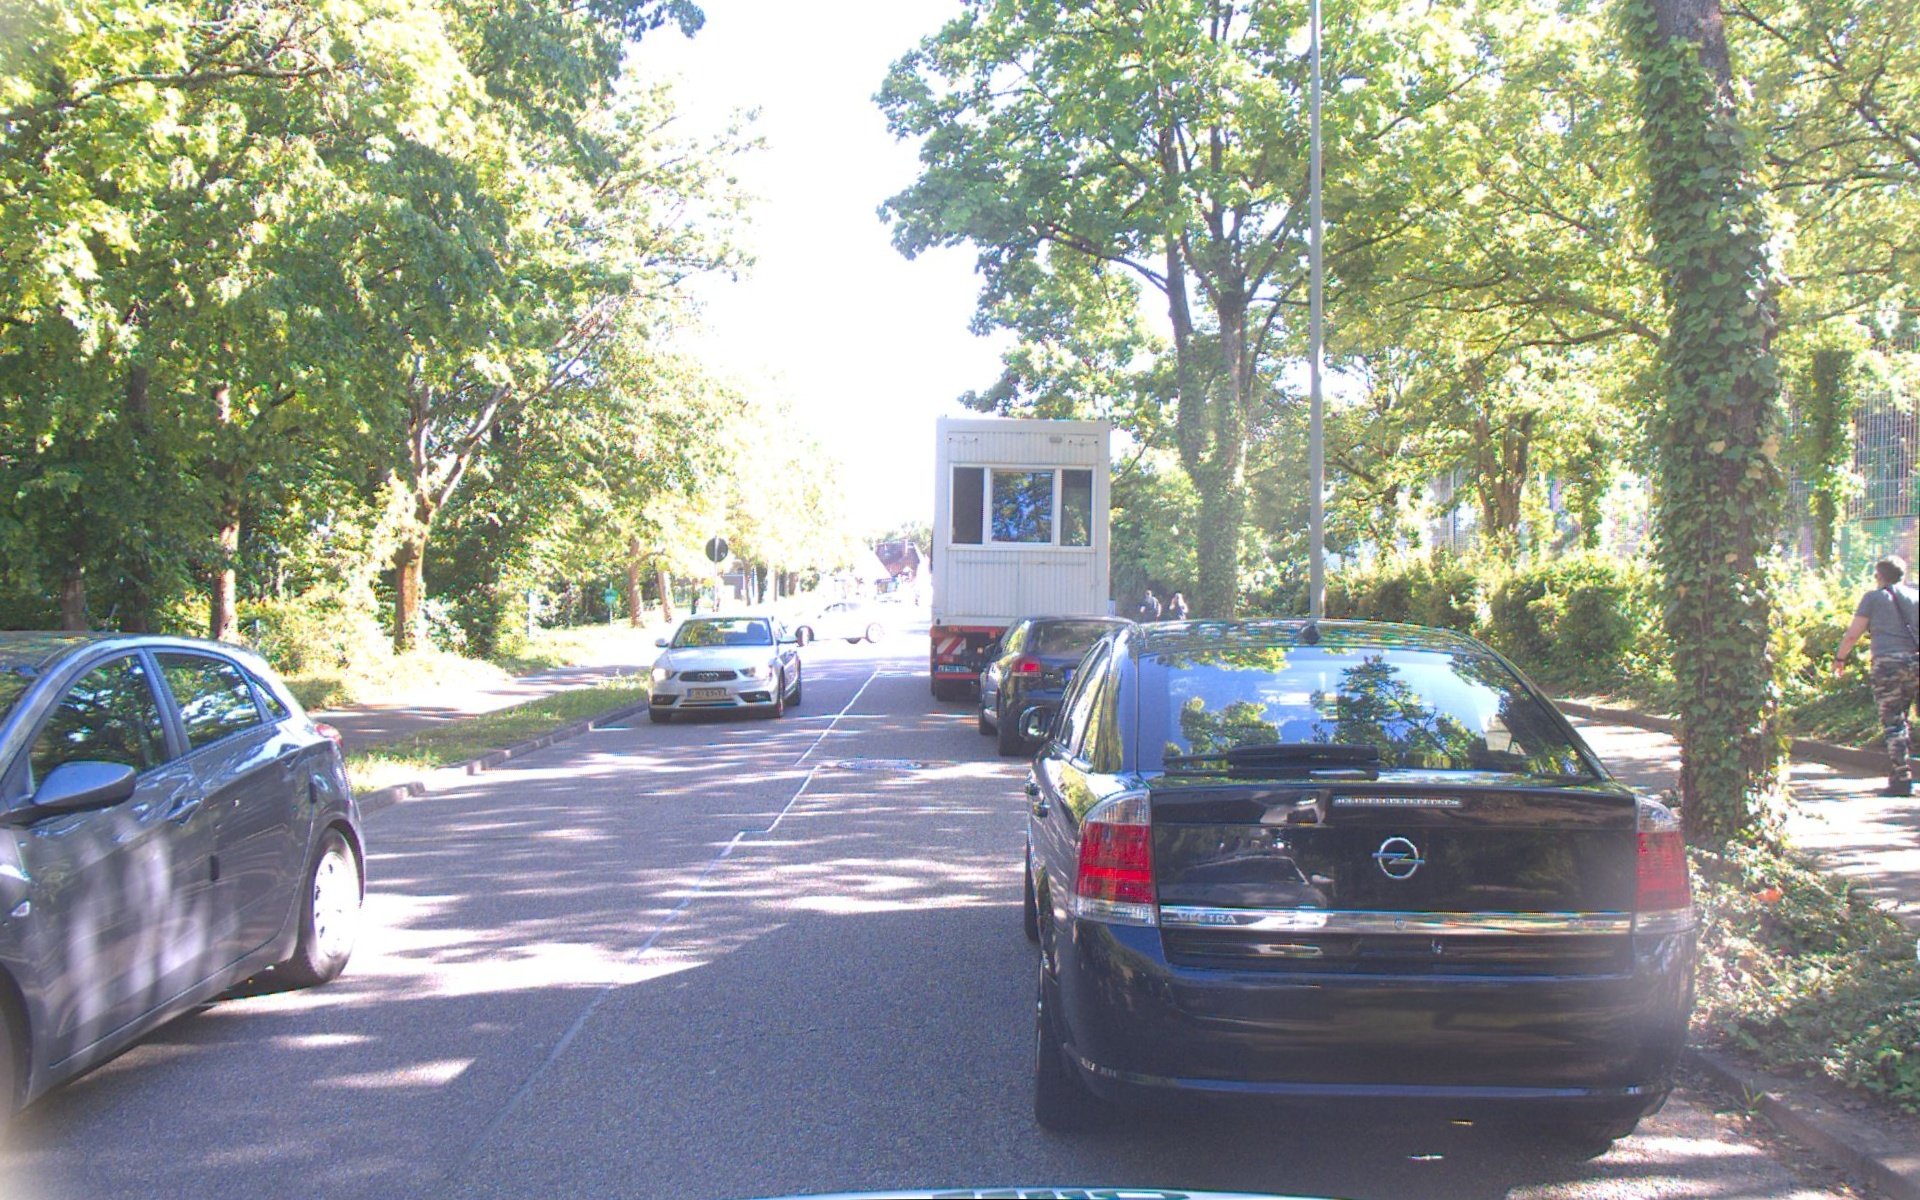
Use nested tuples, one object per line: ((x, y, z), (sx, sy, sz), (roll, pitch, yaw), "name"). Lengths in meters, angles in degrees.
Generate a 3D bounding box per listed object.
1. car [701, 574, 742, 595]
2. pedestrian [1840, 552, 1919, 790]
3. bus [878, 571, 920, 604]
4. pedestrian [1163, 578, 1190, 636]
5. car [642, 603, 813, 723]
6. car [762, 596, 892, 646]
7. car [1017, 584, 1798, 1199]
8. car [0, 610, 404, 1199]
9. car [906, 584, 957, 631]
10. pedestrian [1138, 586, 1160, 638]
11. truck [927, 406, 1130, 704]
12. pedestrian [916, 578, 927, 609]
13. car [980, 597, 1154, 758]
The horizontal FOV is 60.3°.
((-24.703, -1.612, 171.316), (3.905, 2.049, 2.000), (-2, 0, 1), "car")
((6.648, 0.483, 11.694), (0.559, 1.636, 0.672), (0, 0, 8), "pedestrian")
((-6.671, -1.403, 182.722), (3.981, 3.407, 9.802), (-2, 0, 1), "bus")
((7.051, 0.229, 53.839), (0.684, 1.844, 0.699), (-2, 0, -4), "pedestrian")
((-3.171, 0.812, 23.296), (1.750, 1.441, 4.105), (-2, 1, 0), "car")
((-4.390, 0.678, 54.593), (3.901, 1.445, 1.795), (-2, 0, -28), "car")
((1.095, 0.733, 5.804), (1.712, 1.506, 4.031), (0, 0, 1), "car")
((-3.324, 0.832, 5.235), (1.720, 1.479, 4.242), (-2, 1, -1), "car")
((-1.193, 0.280, 68.308), (1.908, 1.875, 3.997), (0, 0, -4), "car")
((6.137, 0.385, 53.794), (0.586, 1.639, 0.600), (-2, 0, -4), "pedestrian")
((0.844, -0.649, 27.990), (2.717, 4.066, 10.345), (1, 0, -1), "truck")
((-2.768, -0.471, 118.447), (0.737, 2.150, 0.799), (1, 0, 2), "pedestrian")
((1.066, 0.736, 17.727), (1.606, 1.445, 4.001), (-2, 0, 1), "car")
